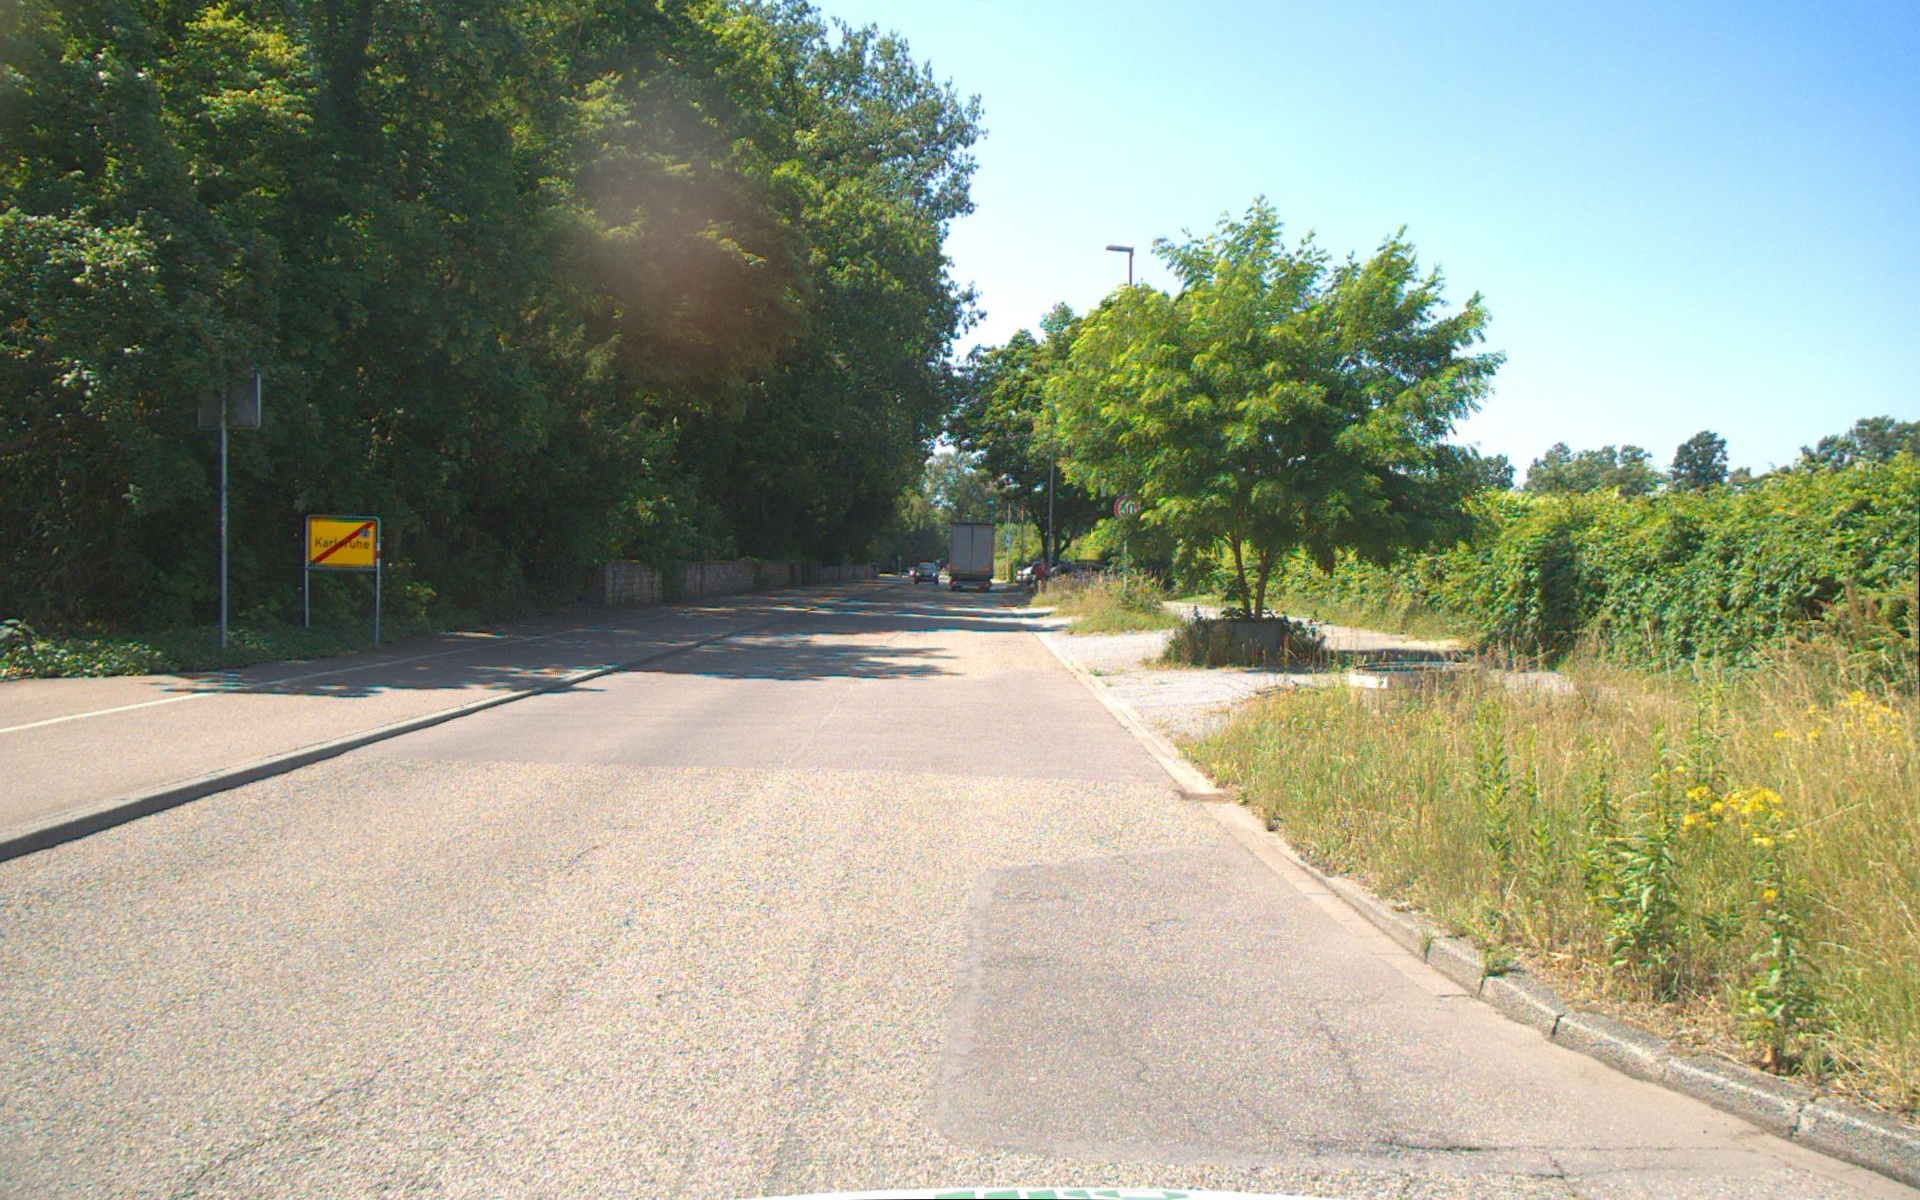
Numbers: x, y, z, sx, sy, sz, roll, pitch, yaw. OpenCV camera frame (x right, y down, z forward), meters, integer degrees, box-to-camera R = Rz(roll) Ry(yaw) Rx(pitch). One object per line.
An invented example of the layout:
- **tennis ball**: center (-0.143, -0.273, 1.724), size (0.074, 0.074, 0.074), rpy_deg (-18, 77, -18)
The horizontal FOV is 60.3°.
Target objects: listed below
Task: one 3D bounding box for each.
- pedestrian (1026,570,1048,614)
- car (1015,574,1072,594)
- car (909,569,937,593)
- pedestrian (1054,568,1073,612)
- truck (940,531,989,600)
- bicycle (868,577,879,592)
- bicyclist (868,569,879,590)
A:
- **pedestrian**: center (3.096, -0.330, 66.708), size (0.846, 1.706, 0.885), rpy_deg (0, 2, -2)
- **car**: center (6.176, -1.195, 122.714), size (4.109, 1.470, 1.739), rpy_deg (0, 2, 1)
- **car**: center (-2.781, -1.438, 123.948), size (1.952, 1.713, 4.263), rpy_deg (0, 2, 0)
- **pedestrian**: center (4.237, -0.409, 67.697), size (0.724, 1.768, 0.885), rpy_deg (0, 2, -2)
- **truck**: center (0.319, -2.145, 98.421), size (2.677, 3.810, 13.249), rpy_deg (1, 2, 0)
- **bicycle**: center (-7.150, -1.282, 136.587), size (0.703, 1.179, 2.231), rpy_deg (0, 2, 1)
- **bicyclist**: center (-7.168, -1.692, 136.539), size (0.815, 1.746, 0.957), rpy_deg (0, 2, 0)
